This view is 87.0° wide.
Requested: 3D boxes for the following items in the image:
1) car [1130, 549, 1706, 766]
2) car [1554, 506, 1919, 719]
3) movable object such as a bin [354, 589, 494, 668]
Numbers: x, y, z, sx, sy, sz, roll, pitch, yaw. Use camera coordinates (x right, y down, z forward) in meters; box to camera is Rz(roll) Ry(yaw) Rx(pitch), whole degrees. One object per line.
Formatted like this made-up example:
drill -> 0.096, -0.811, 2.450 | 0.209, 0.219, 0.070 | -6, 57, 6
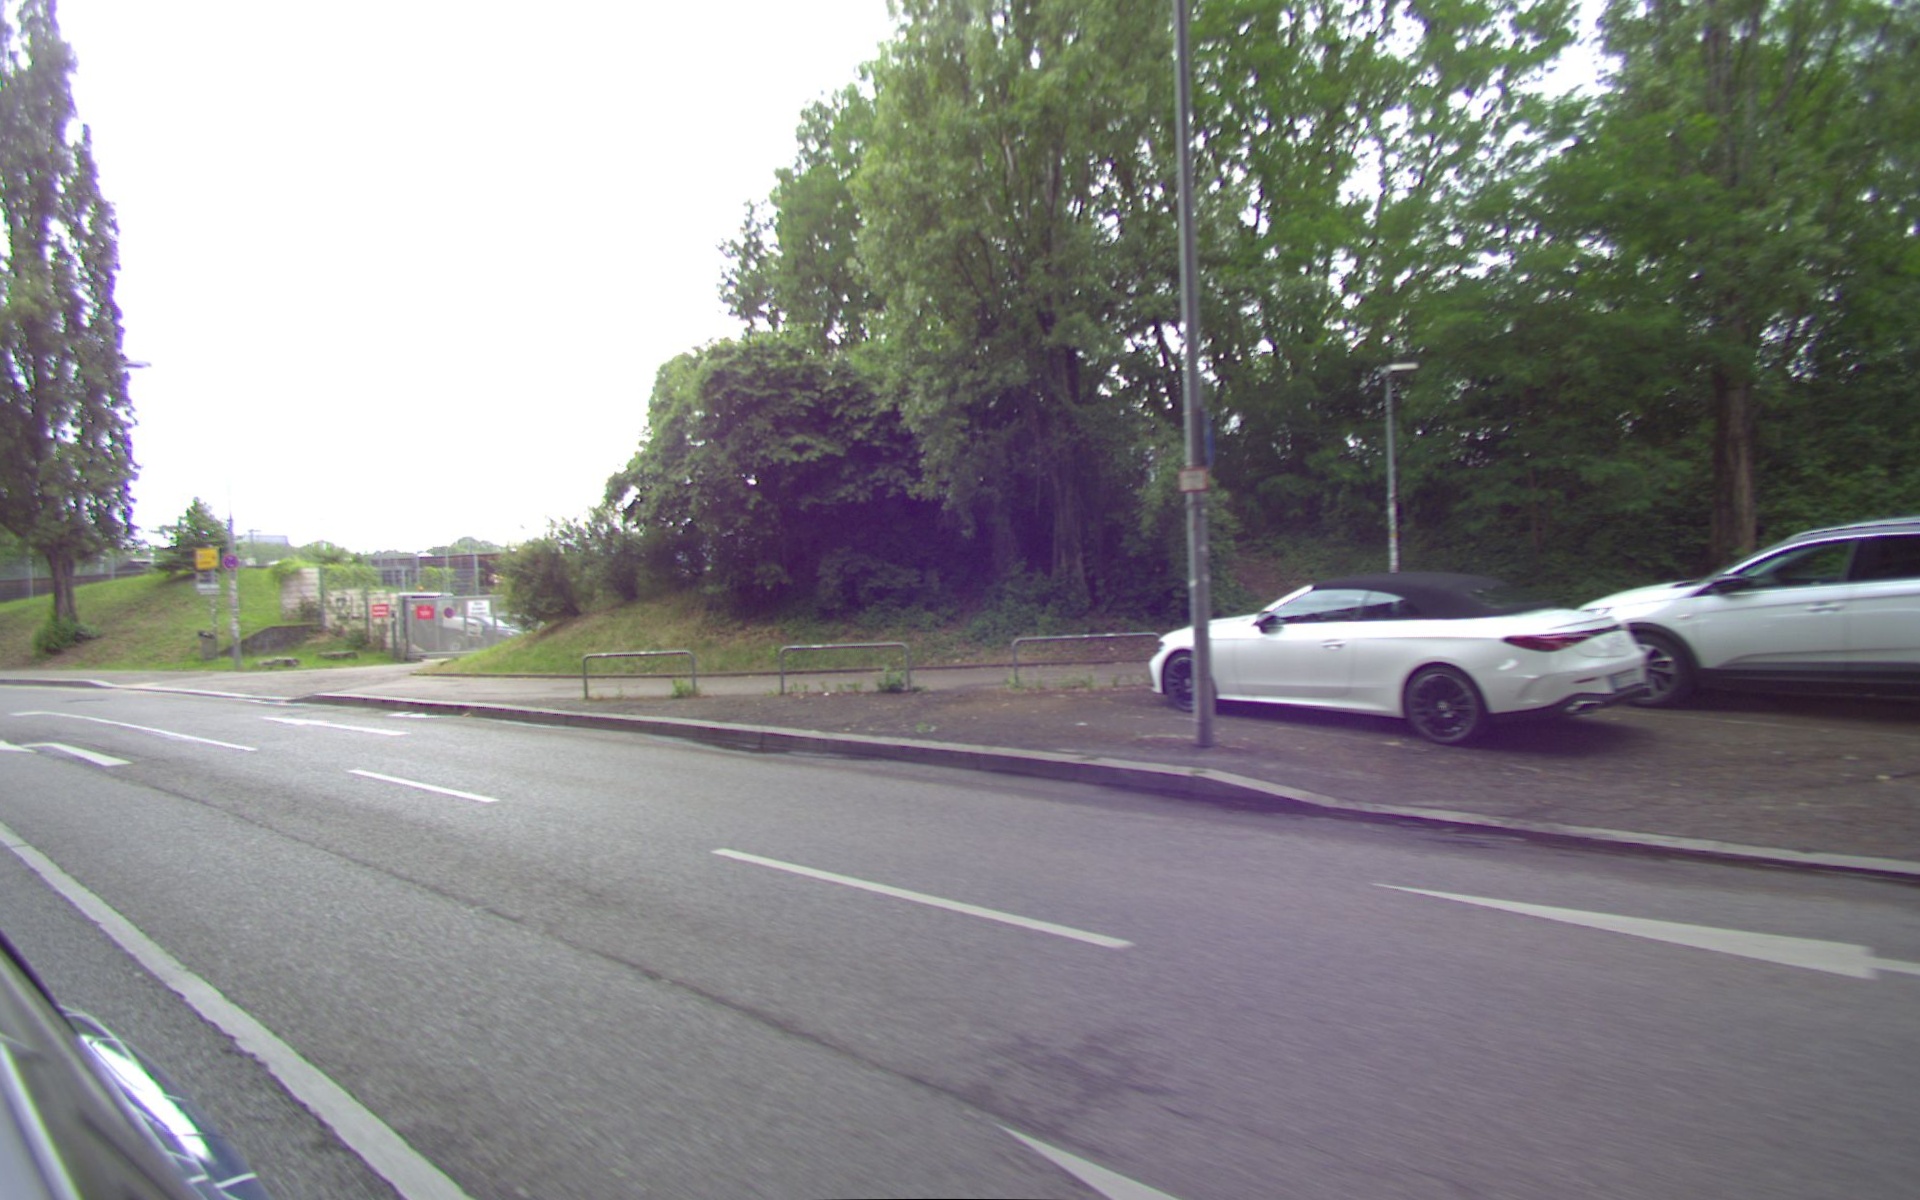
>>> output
car -> 4.173, 0.368, 10.061 | 1.968, 1.490, 4.840 | -7, 5, -36
car -> 8.005, 0.038, 8.835 | 1.968, 1.594, 4.411 | -7, 4, -35
movable object such as a bin -> -19.910, 1.041, 37.737 | 4.167, 2.743, 2.030 | -1, -1, -5
